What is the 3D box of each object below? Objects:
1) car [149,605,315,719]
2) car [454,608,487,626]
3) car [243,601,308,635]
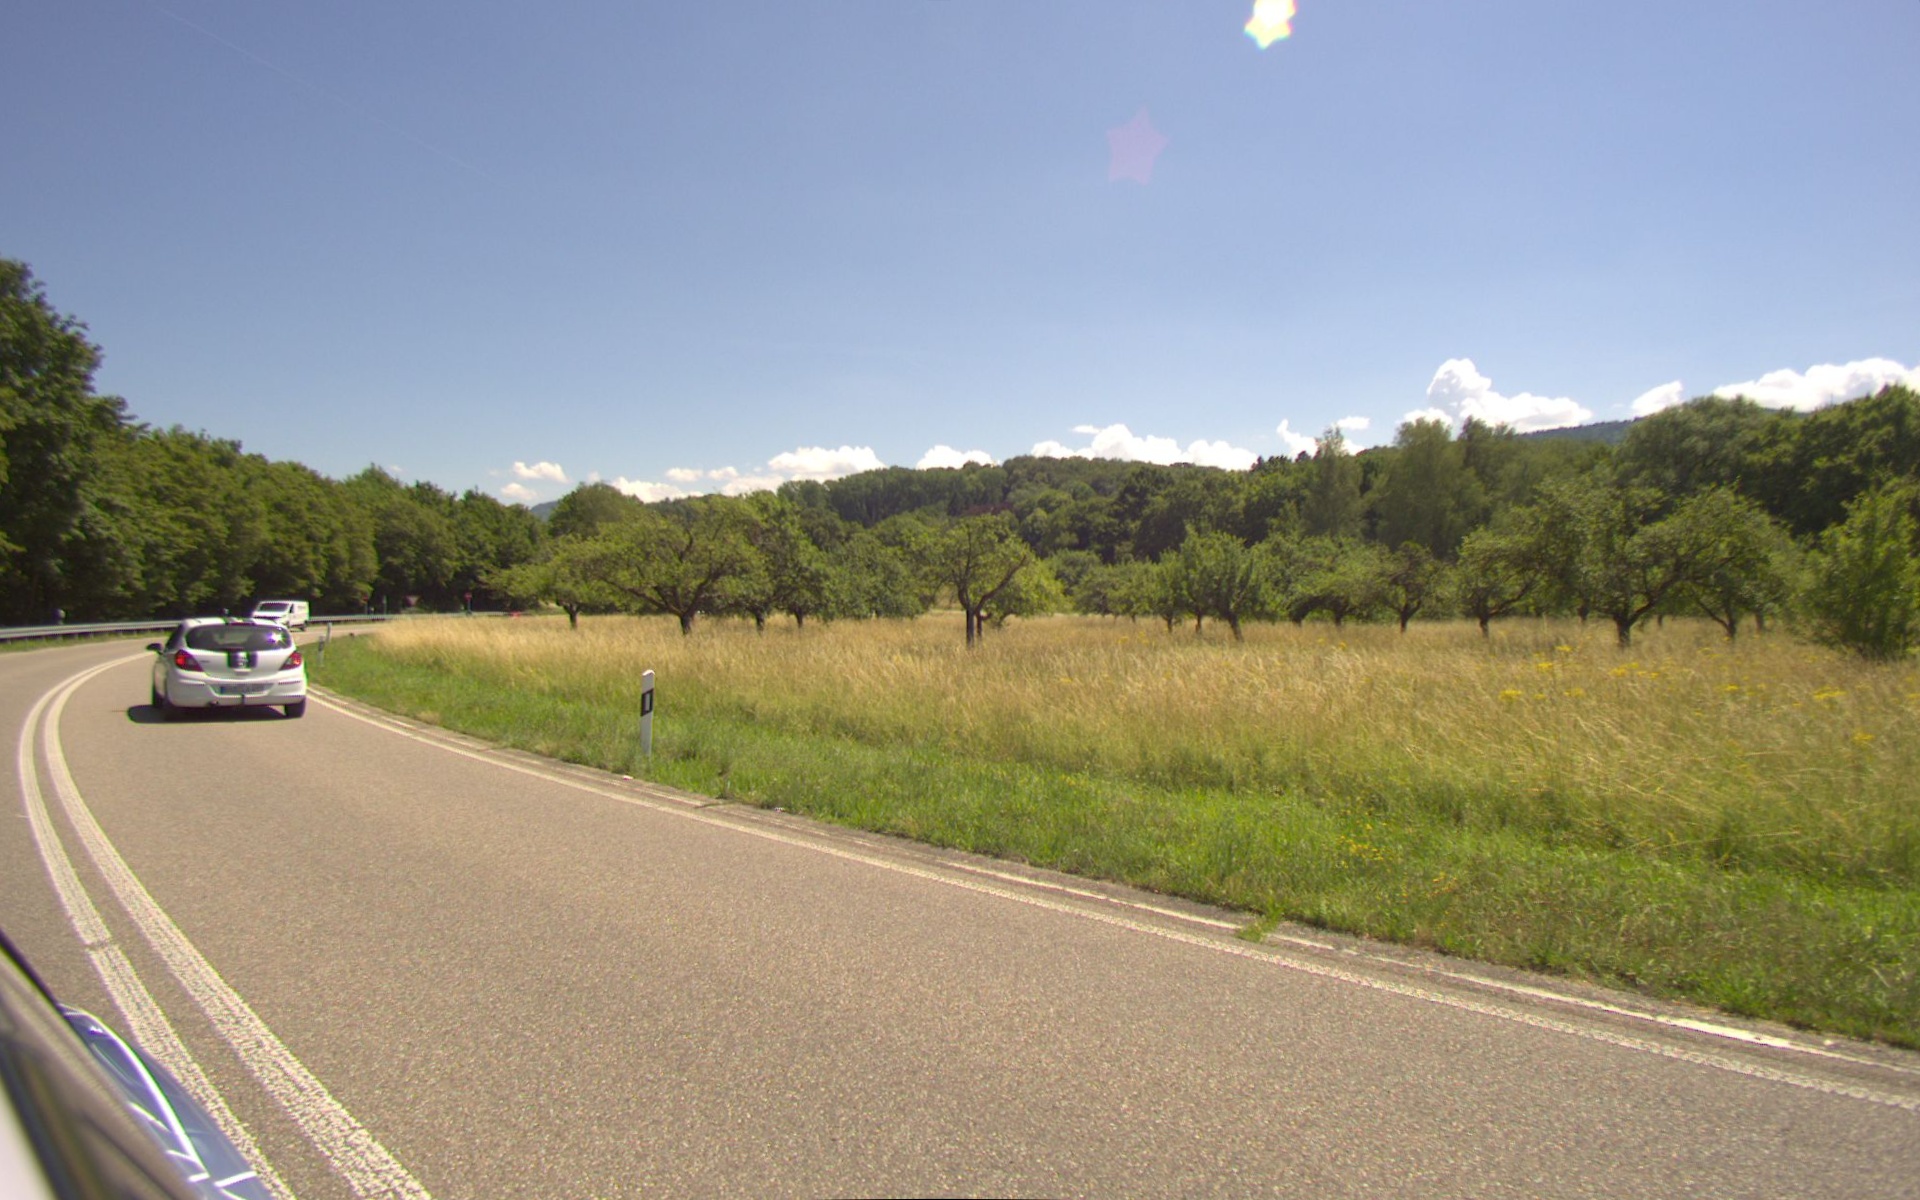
[{"bbox_3d":[-11.376,0.916,15.702,1.799,1.518,4.180,3,-3,-39],"label":"car"},{"bbox_3d":[-46.036,1.571,95.216,1.798,1.469,4.411,4,-1,-13],"label":"car"},{"bbox_3d":[-44.185,1.145,65.464,2.188,2.048,5.444,-1,0,-19],"label":"car"}]
